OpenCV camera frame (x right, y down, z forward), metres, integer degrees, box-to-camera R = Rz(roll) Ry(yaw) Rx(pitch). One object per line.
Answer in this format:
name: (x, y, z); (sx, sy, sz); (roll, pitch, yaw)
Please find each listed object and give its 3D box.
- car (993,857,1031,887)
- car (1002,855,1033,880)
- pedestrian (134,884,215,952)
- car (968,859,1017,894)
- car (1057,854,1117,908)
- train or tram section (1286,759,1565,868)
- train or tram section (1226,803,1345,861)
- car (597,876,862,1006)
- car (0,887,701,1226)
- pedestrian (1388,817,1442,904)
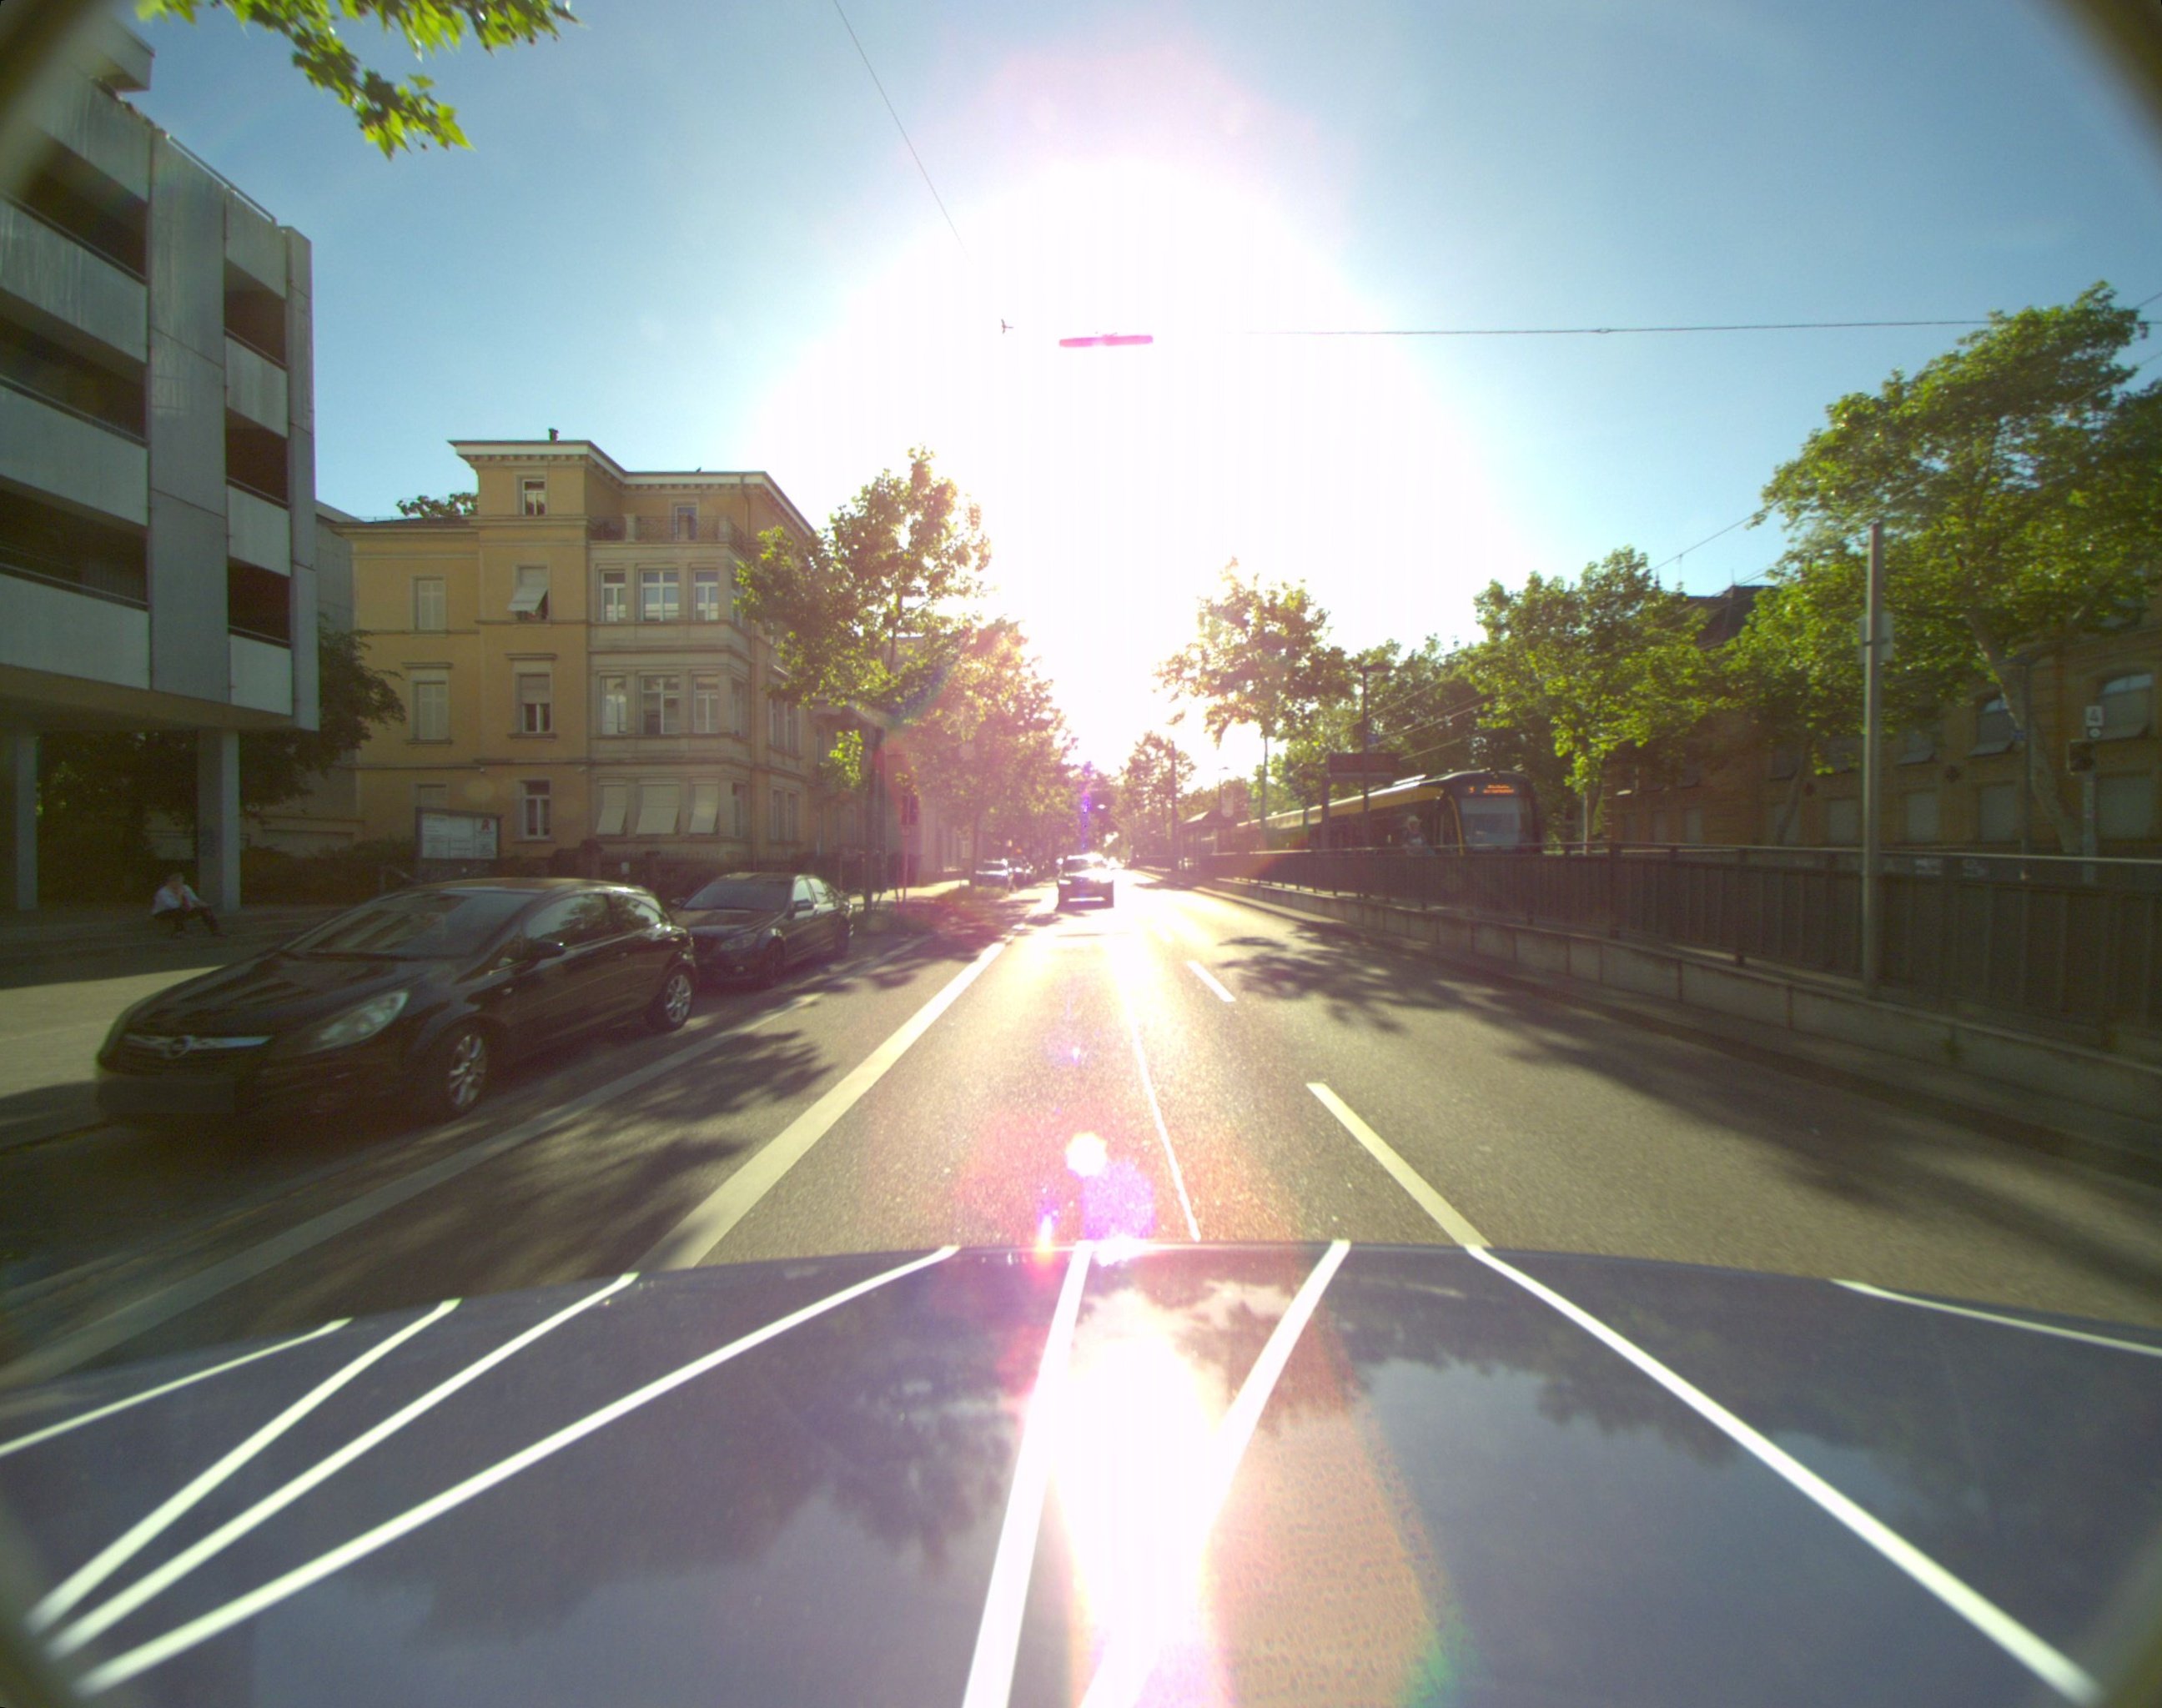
car: (-4.157, 1.078, 46.475); (1.839, 1.666, 4.273); (-1, 0, 1)
car: (-4.505, 0.939, 54.244); (1.839, 1.666, 4.273); (0, 0, 1)
pedestrian: (-15.555, 1.088, 13.052); (0.560, 1.103, 0.684); (0, 0, 1)
car: (-4.267, 1.046, 37.362); (1.839, 1.556, 4.273); (-1, 0, 1)
car: (0.208, 0.876, 26.870); (1.914, 1.695, 4.273); (-1, 0, 1)
train or tram section: (10.265, -0.960, 25.810); (2.569, 2.549, 15.675); (-1, 0, 1)
train or tram section: (10.502, -0.969, 41.192); (2.569, 2.516, 15.073); (-1, 0, 1)
car: (-4.724, 1.084, 11.013); (1.781, 1.373, 4.276); (-1, 0, 1)
car: (-4.632, 1.061, 5.620); (1.630, 1.433, 3.930); (1, 0, 1)
pedestrian: (6.450, 0.116, 14.683); (0.700, 1.626, 0.761); (-1, 1, 1)
